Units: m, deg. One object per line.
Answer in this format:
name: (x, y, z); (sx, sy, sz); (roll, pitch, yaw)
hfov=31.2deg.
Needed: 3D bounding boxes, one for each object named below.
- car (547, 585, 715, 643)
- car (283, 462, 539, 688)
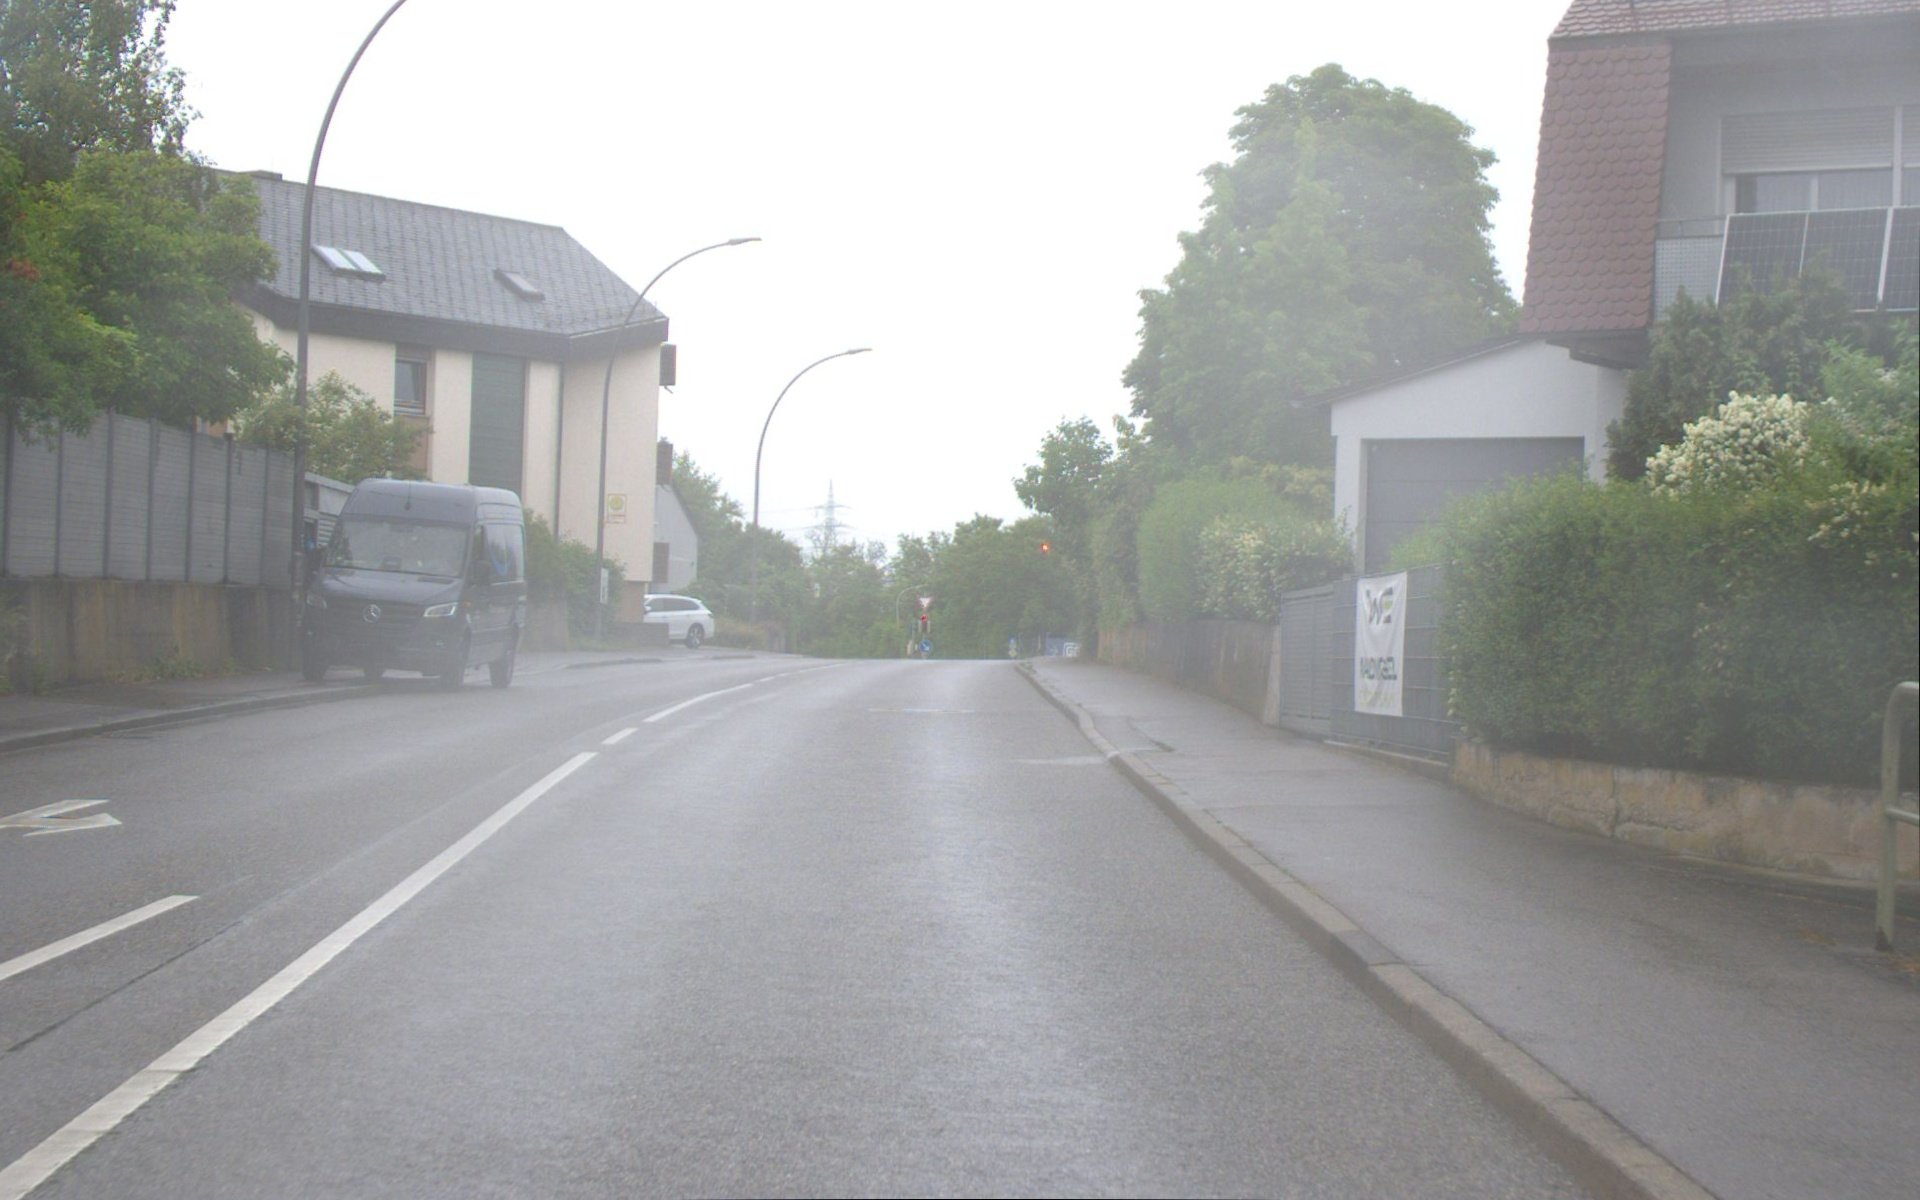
car: (-9.232, 0.395, 96.777); (1.905, 1.472, 4.871); (3, 0, 36)
car: (-7.023, -0.302, 44.638); (2.094, 2.640, 5.918); (3, 0, 2)
